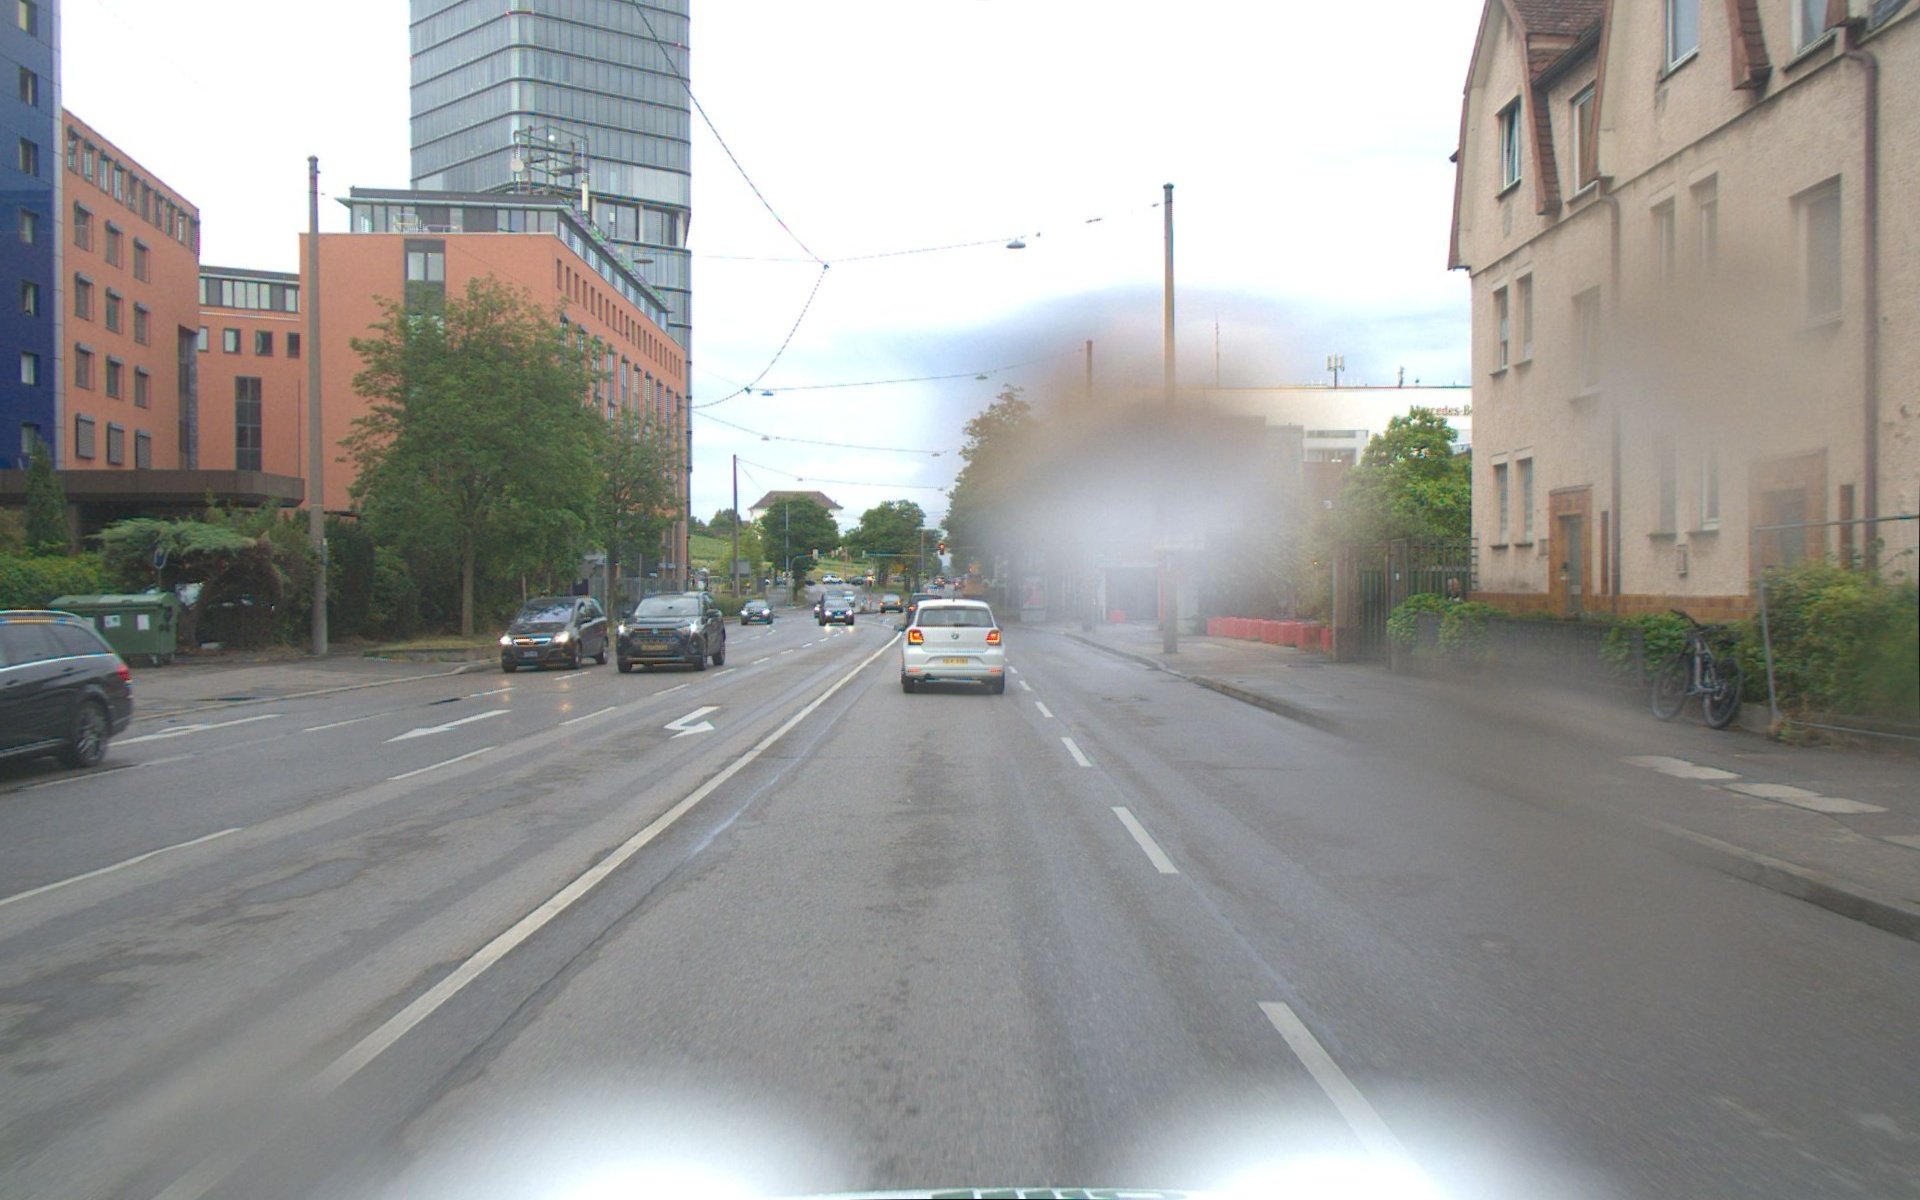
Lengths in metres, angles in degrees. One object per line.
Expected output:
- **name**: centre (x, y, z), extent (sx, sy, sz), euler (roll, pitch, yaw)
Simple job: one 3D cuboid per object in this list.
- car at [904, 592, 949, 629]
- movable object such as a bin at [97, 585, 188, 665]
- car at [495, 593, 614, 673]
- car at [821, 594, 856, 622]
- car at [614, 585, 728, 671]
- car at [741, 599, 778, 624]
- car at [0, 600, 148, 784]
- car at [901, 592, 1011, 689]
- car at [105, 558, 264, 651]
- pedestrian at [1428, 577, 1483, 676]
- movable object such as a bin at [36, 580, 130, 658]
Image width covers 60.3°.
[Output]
- **car**: centre (-1.461, 0.463, 74.407), extent (1.953, 1.601, 4.000), euler (0, 0, 0)
- **movable object such as a bin**: centre (-16.338, 0.503, 33.085), extent (1.365, 1.517, 0.949), euler (-2, -2, -10)
- **car**: centre (-9.253, 0.710, 38.019), extent (1.673, 1.593, 4.034), euler (-3, 1, 0)
- **car**: centre (-6.533, 0.417, 89.163), extent (1.625, 1.512, 3.819), euler (0, 0, -1)
- **car**: centre (-6.225, 0.552, 36.081), extent (1.721, 1.582, 4.450), euler (-3, 2, -1)
- **car**: centre (-12.191, 0.668, 100.739), extent (1.588, 1.346, 4.447), euler (-2, 1, 1)
- **car**: centre (-9.100, 0.839, 14.438), extent (1.698, 1.502, 4.699), euler (-2, 2, 0)
- **car**: centre (-0.127, 0.620, 27.343), extent (1.637, 1.499, 3.777), euler (0, 0, -3)
- **car**: centre (-18.699, 0.156, 40.093), extent (1.799, 2.049, 4.314), euler (-3, -2, -1)
- **pedestrian**: centre (9.248, 0.484, 30.888), extent (0.892, 1.794, 0.768), euler (1, 0, 11)
- **movable object such as a bin**: centre (-17.843, 0.392, 33.678), extent (1.360, 1.517, 0.952), euler (-3, -2, 10)
